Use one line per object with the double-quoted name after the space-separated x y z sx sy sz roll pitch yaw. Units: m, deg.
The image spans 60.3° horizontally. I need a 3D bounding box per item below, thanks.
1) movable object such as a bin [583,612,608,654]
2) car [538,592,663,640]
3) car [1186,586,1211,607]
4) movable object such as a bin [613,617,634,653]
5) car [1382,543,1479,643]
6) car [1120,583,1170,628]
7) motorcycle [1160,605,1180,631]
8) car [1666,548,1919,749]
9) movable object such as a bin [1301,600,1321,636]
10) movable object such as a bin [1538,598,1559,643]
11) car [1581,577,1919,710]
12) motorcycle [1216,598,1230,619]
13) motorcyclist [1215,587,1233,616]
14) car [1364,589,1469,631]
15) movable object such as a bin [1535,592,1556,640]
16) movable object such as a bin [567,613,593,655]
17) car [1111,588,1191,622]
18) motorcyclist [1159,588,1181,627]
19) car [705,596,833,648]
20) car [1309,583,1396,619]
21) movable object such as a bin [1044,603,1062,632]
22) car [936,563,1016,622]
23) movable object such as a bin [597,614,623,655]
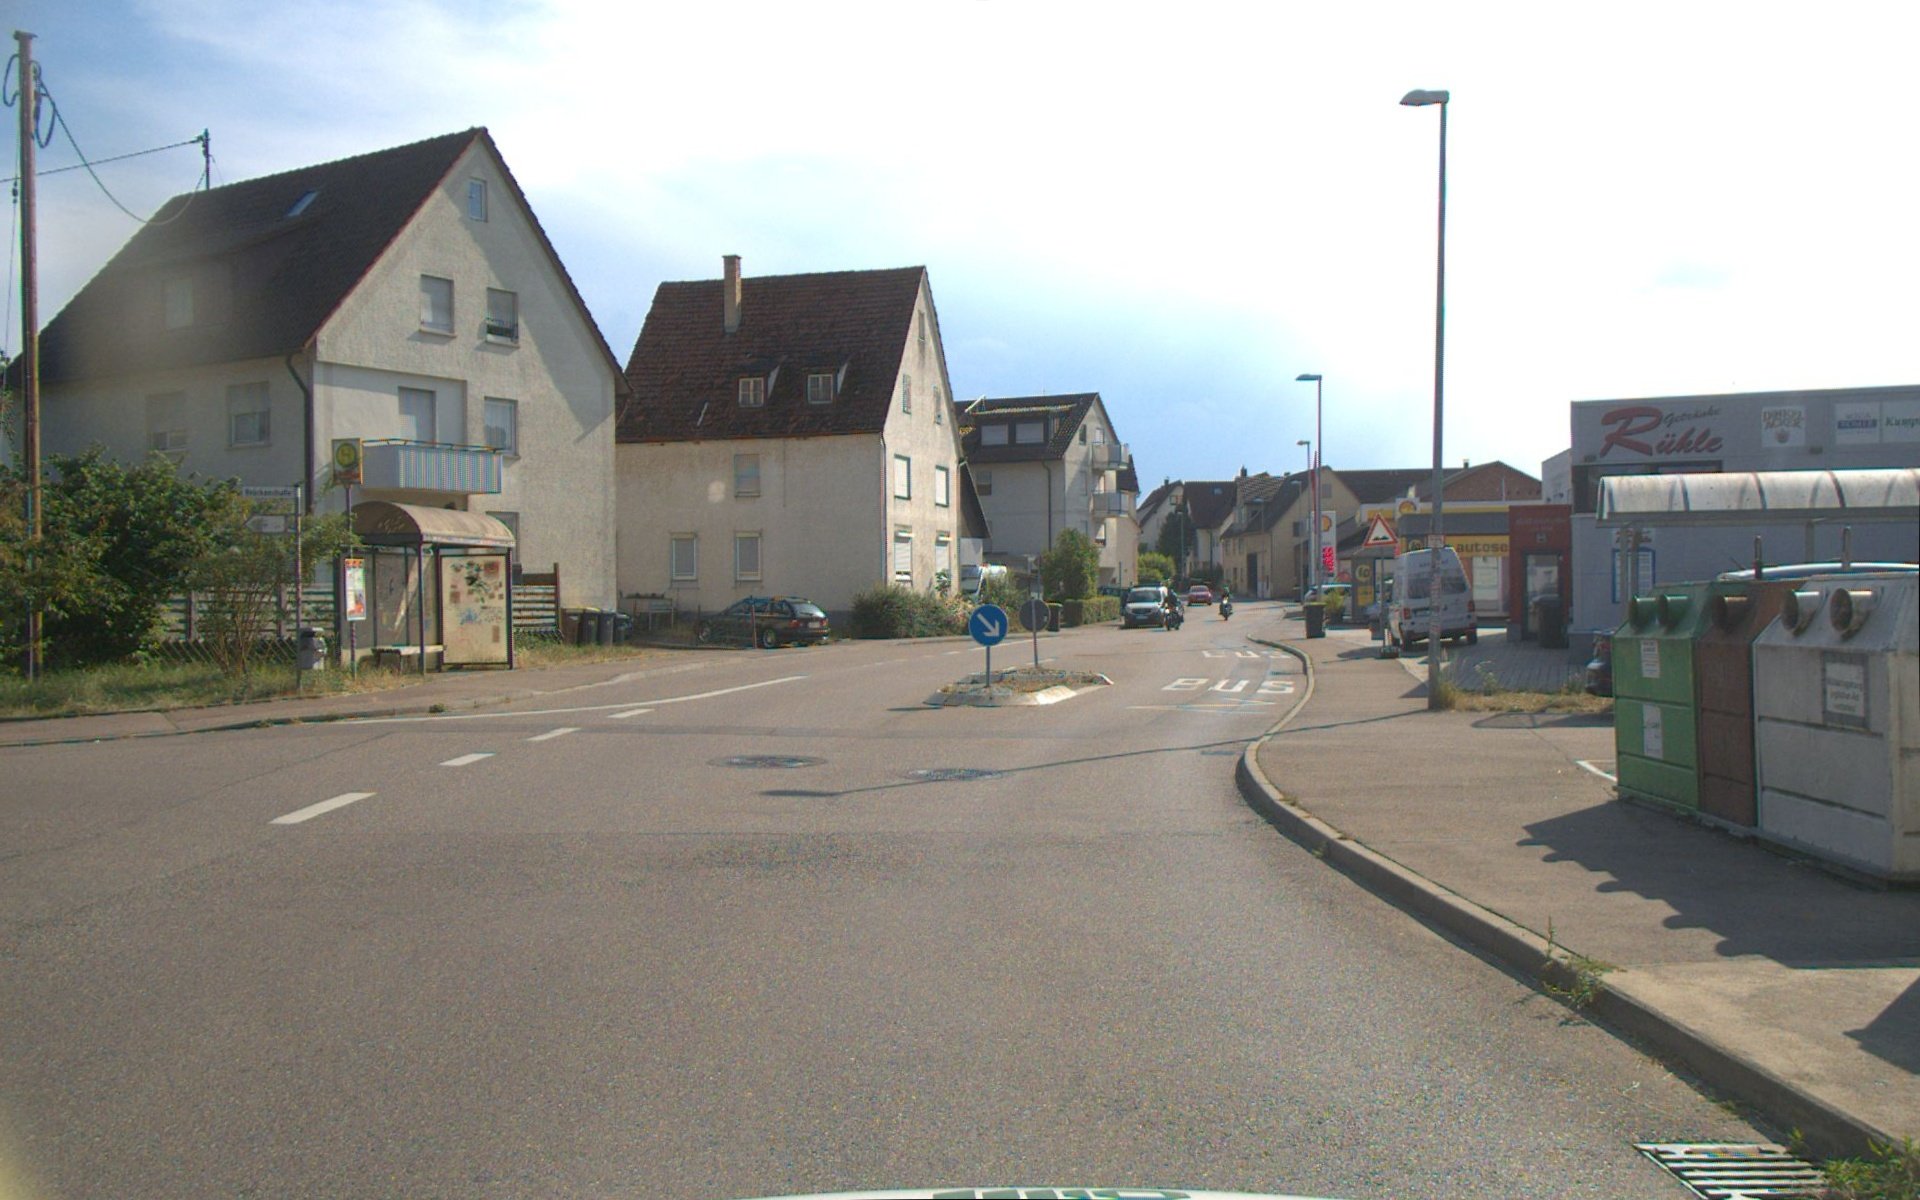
-9.226 0.835 41.869 0.354 1.059 0.557 -1 -1 29 "movable object such as a bin"
-11.378 0.470 52.237 3.919 1.384 1.680 1 1 35 "car"
17.800 -0.250 123.568 1.672 1.460 3.783 -2 0 6 "car"
-8.724 0.912 42.904 0.354 0.941 0.399 -1 -2 29 "movable object such as a bin"
12.213 -0.186 43.231 1.797 2.416 5.183 -1 0 9 "car"
8.343 0.235 74.359 1.680 1.905 4.195 -2 0 13 "car"
8.588 0.718 67.660 0.527 1.030 2.029 2 0 15 "motorcycle"
8.296 0.397 14.198 3.855 1.631 1.684 -1 -1 13 "car"
10.981 0.566 51.790 0.555 1.094 0.573 -2 0 8 "movable object such as a bin"
13.036 0.447 36.630 0.420 0.983 0.430 0 0 20 "movable object such as a bin"
9.671 0.522 19.908 3.979 1.441 1.626 -2 -1 18 "car"
13.050 0.435 82.054 0.513 1.030 2.029 1 0 15 "motorcycle"
13.101 0.070 82.033 0.785 1.461 1.037 1 0 15 "motorcyclist"
18.075 0.387 65.666 3.902 1.558 1.529 -1 0 12 "car"
13.178 0.356 37.232 0.420 1.060 0.490 0 0 20 "movable object such as a bin"
-9.505 0.856 41.389 0.354 1.034 0.557 -1 -1 29 "movable object such as a bin"
10.483 0.268 90.738 3.908 1.564 1.762 4 2 24 "car"
8.576 0.314 67.586 0.720 1.553 1.017 2 0 15 "motorcyclist"
-5.836 0.630 50.253 3.927 1.458 1.644 1 1 41 "car"
18.462 0.045 77.930 3.902 1.636 2.002 0 0 12 "car"
3.617 0.670 64.267 0.598 1.120 0.576 1 -1 13 "movable object such as a bin"
0.812 -0.380 77.790 2.113 2.641 6.098 0 1 17 "car"
-8.988 0.880 42.442 0.354 1.041 0.576 -1 -1 29 "movable object such as a bin"
